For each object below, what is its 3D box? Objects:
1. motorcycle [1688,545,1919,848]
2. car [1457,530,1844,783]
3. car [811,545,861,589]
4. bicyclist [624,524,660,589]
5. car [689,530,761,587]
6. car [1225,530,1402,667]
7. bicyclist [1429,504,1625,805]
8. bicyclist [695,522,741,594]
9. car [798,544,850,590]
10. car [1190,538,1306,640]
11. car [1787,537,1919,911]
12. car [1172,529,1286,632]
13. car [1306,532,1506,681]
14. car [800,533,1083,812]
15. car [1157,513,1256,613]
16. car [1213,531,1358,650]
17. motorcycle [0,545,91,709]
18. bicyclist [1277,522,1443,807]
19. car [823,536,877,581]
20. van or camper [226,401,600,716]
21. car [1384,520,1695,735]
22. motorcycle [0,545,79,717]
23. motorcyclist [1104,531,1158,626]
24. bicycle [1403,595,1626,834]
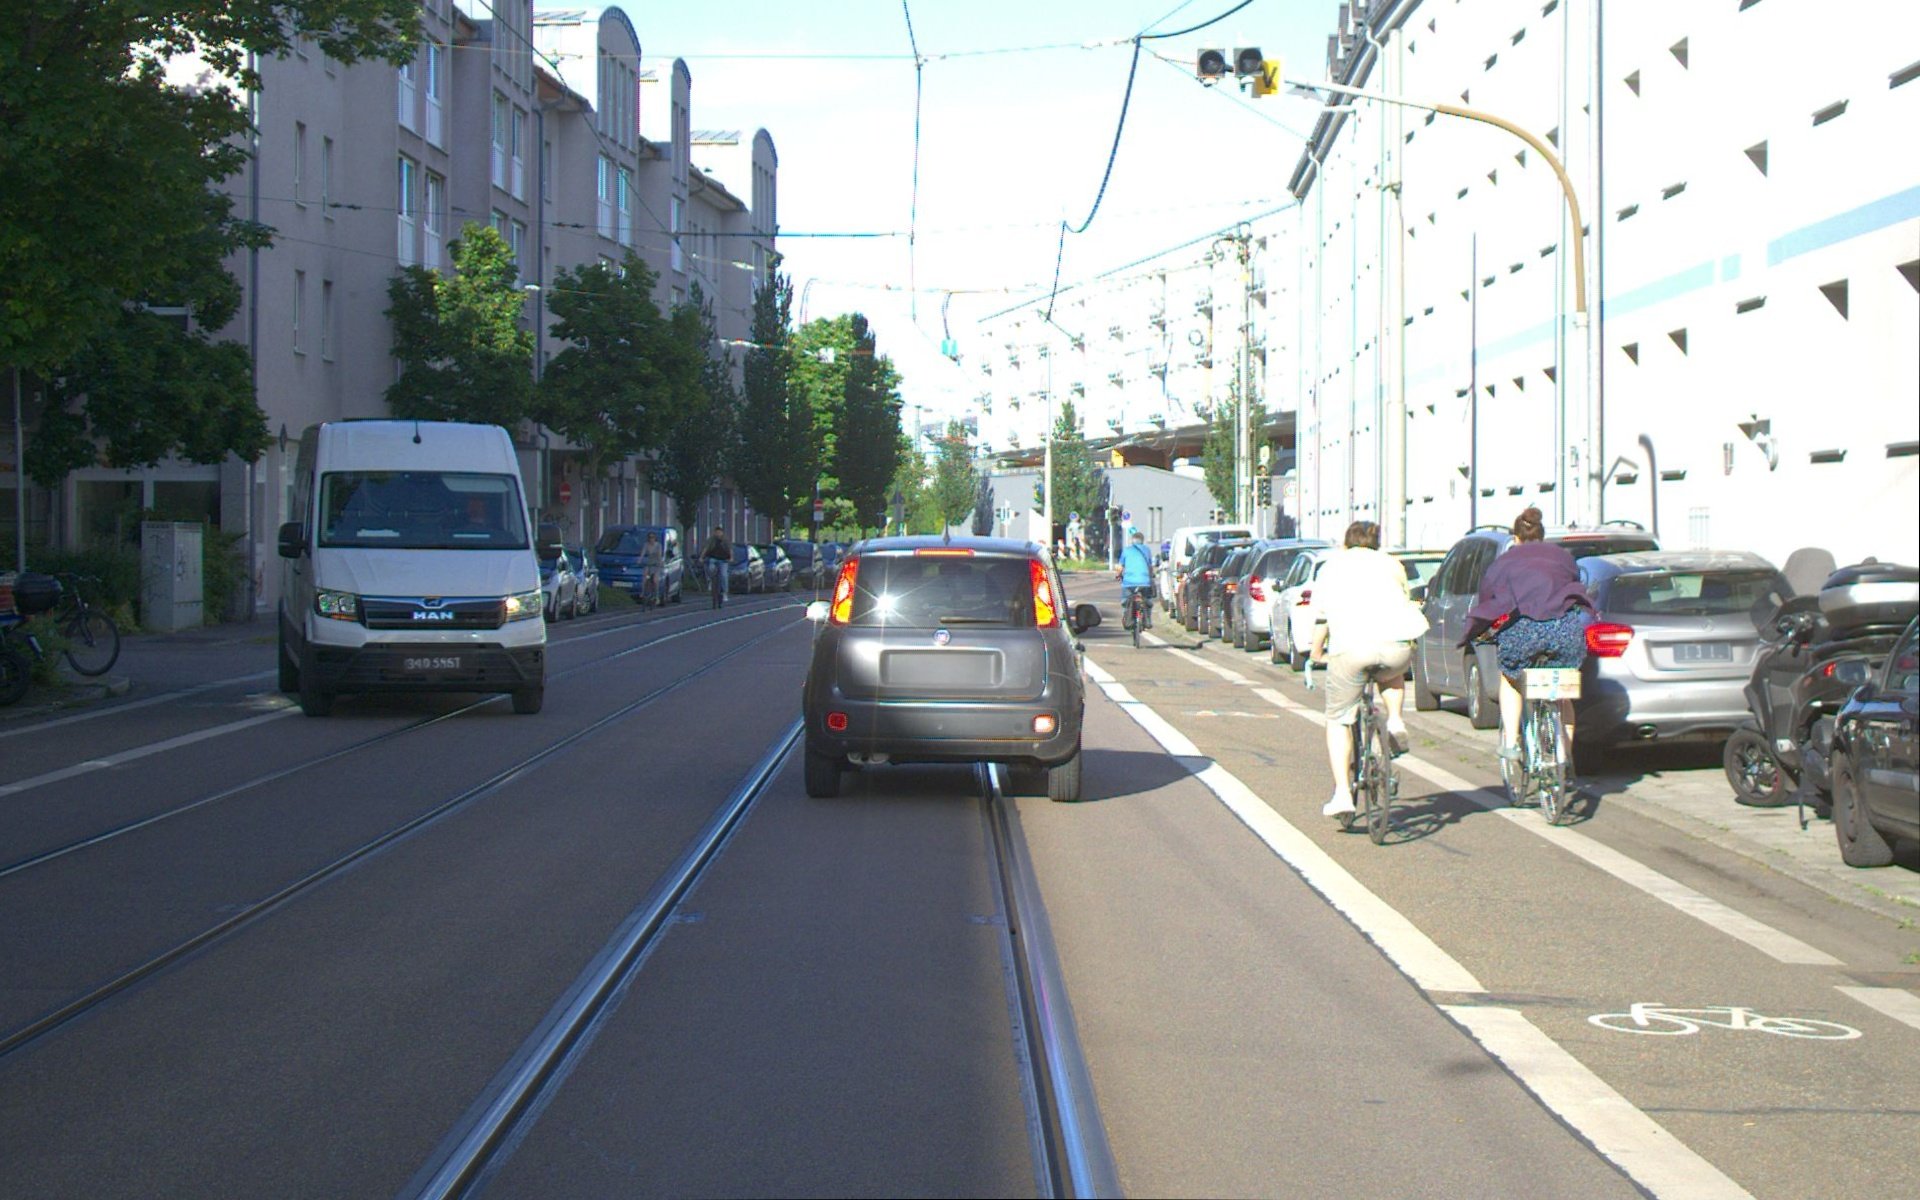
[{"bbox_3d":[4.676,0.468,18.708,0.805,1.516,2.709,0,1,-1],"label":"motorcycle"},{"bbox_3d":[4.667,0.314,23.846,1.864,1.549,4.366,-1,1,1],"label":"car"},{"bbox_3d":[-4.387,-1.189,121.903,1.591,1.535,3.191,0,1,1],"label":"car"},{"bbox_3d":[-7.089,-0.972,76.588,0.623,1.376,0.868,-4,1,0],"label":"bicyclist"},{"bbox_3d":[-6.758,-1.205,99.168,1.665,1.612,4.000,0,1,2],"label":"car"},{"bbox_3d":[4.318,-0.065,42.509,1.679,1.565,4.510,-1,1,0],"label":"car"},{"bbox_3d":[3.217,0.295,19.594,0.934,1.670,0.970,0,1,-1],"label":"bicyclist"},{"bbox_3d":[-5.392,-0.931,76.596,0.881,1.556,0.868,-3,1,0],"label":"bicyclist"},{"bbox_3d":[-4.647,-1.146,117.841,1.591,1.535,3.191,0,1,1],"label":"car"},{"bbox_3d":[4.623,-0.203,55.548,1.591,1.532,4.007,-2,1,2],"label":"car"},{"bbox_3d":[4.866,0.509,15.026,1.609,1.565,3.904,-1,1,1],"label":"car"},{"bbox_3d":[4.694,-0.370,60.484,1.660,1.664,3.904,-3,1,1],"label":"car"},{"bbox_3d":[4.864,0.021,37.965,1.513,1.426,4.202,-5,1,0],"label":"car"},{"bbox_3d":[-0.091,0.365,20.735,1.556,1.527,3.487,0,1,0],"label":"car"},{"bbox_3d":[5.023,-0.778,70.436,1.786,1.964,4.154,-1,1,1],"label":"car"},{"bbox_3d":[4.704,-0.175,50.087,1.754,1.565,3.904,-3,1,1],"label":"car"},{"bbox_3d":[-8.775,0.234,30.528,1.968,1.442,0.721,0,1,-7],"label":"motorcycle"},{"bbox_3d":[2.096,0.319,18.118,0.727,1.457,1.021,0,1,-1],"label":"bicyclist"},{"bbox_3d":[-4.095,-1.559,128.027,1.844,1.640,3.697,0,1,1],"label":"car"},{"bbox_3d":[-5.154,-0.408,31.388,2.369,2.544,6.837,0,1,-18],"label":"van or camper"},{"bbox_3d":[4.878,0.173,29.551,1.755,1.660,4.627,-1,1,-1],"label":"car"},{"bbox_3d":[-8.551,0.252,29.225,1.968,1.442,0.836,0,1,-7],"label":"motorcycle"},{"bbox_3d":[2.548,-0.332,51.324,0.727,1.401,1.021,0,1,-1],"label":"motorcyclist"},{"bbox_3d":[3.178,0.623,19.936,0.821,1.232,2.462,2,1,-1],"label":"bicycle"}]
